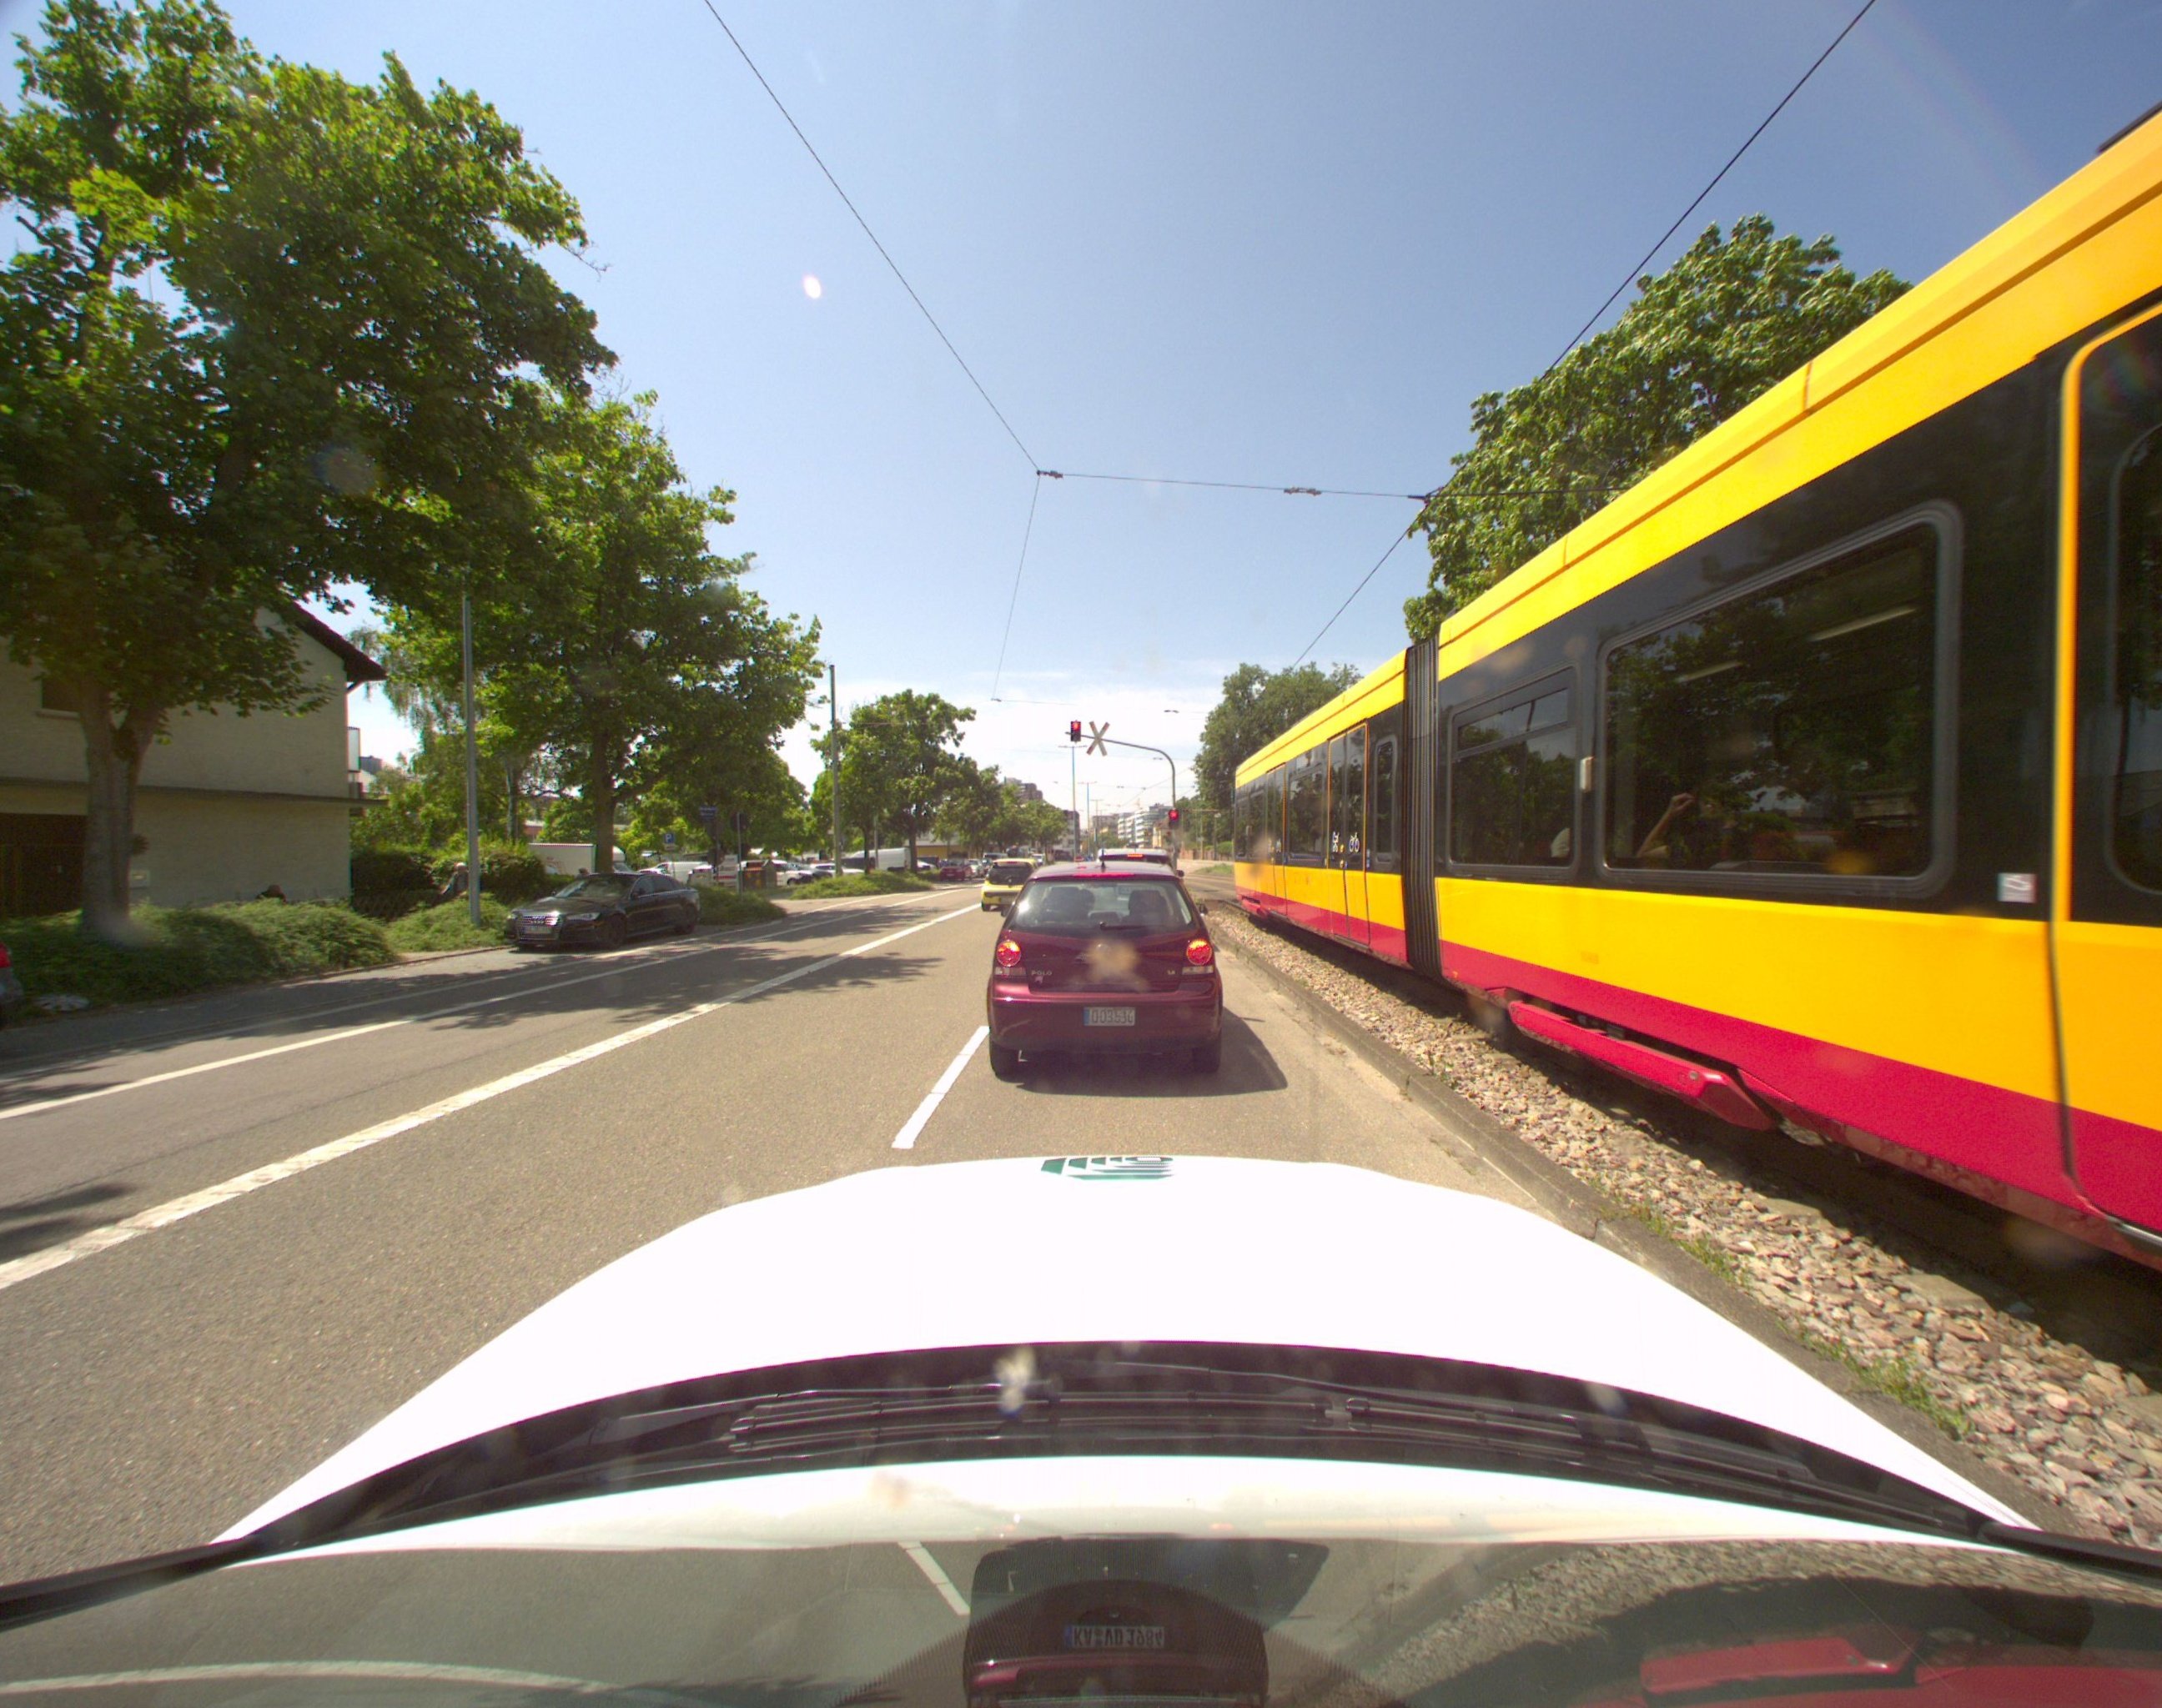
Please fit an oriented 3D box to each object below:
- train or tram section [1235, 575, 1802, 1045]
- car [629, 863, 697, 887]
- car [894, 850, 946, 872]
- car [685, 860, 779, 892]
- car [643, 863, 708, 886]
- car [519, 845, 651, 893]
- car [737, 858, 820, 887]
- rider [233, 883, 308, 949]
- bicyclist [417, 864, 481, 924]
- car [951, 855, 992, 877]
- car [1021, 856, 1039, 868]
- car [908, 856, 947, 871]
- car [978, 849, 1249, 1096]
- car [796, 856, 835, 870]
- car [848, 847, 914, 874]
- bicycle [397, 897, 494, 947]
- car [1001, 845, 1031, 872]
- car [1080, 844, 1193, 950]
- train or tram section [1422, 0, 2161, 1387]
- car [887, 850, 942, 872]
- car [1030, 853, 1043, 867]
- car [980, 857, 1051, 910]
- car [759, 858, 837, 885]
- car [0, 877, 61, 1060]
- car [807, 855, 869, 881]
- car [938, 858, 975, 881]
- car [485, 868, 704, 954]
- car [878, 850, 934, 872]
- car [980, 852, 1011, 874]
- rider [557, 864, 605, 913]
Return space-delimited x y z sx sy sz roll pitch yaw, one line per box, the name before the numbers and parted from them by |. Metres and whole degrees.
train or tram section | 4.396 -0.369 11.758 2.730 3.609 10.957 0 0 2
car | -30.416 1.522 59.338 3.982 1.653 1.812 1 -1 -7
car | -17.333 0.774 87.888 5.076 2.244 2.380 0 -1 3
car | -19.351 1.204 45.267 4.330 1.585 1.912 -2 0 -1
car | -30.685 1.548 61.755 3.982 1.653 1.812 1 -1 -7
car | -31.443 0.938 51.805 6.828 2.965 2.364 1 -1 0
car | -18.631 1.116 50.230 4.319 1.585 1.917 -2 0 7
rider | -17.968 1.367 18.070 0.820 1.374 0.814 -2 0 10
bicyclist | -14.784 0.921 19.072 0.805 1.374 0.829 0 -1 5
car | -8.222 0.900 61.304 1.965 1.601 4.566 0 -1 6
car | -6.351 1.058 101.638 1.606 1.441 4.006 0 -1 5
car | -17.406 1.070 92.338 4.004 1.617 1.818 0 -1 3
car | 0.244 0.732 7.040 1.666 1.521 4.001 0 0 1
car | -31.578 1.054 96.922 4.006 1.617 1.816 1 -1 0
car | -17.534 0.563 71.463 5.076 2.244 2.380 0 -1 3
bicycle | -14.792 1.553 19.033 0.697 1.030 1.831 0 -1 5
car | -6.699 0.465 84.570 2.352 2.692 5.311 0 -1 3
car | 0.908 0.664 14.744 1.770 1.647 4.001 0 0 1
train or tram section | 3.960 -0.503 1.226 2.730 3.609 10.957 0 0 2
car | -17.399 0.744 85.334 5.076 2.244 2.380 0 -1 3
car | -5.884 0.823 107.847 1.771 1.828 3.995 1 -1 -3
car | -1.819 0.792 23.550 1.684 1.411 3.516 0 0 1
car | -18.413 1.104 53.060 4.319 1.585 1.917 -2 0 8
car | -10.275 0.999 5.347 1.812 1.564 4.182 0 0 1
car | -18.181 1.025 61.094 3.973 1.746 1.998 -2 0 0
car | -8.330 1.028 54.751 1.655 1.497 4.004 0 -1 4
car | -9.861 1.069 17.010 1.812 1.476 4.450 0 0 1
car | -17.733 0.712 82.868 5.076 2.244 2.380 0 -1 3
car | -7.451 0.791 71.533 1.774 1.881 4.791 0 -1 5
rider | -14.356 0.974 23.395 0.805 1.360 0.829 1 0 5
